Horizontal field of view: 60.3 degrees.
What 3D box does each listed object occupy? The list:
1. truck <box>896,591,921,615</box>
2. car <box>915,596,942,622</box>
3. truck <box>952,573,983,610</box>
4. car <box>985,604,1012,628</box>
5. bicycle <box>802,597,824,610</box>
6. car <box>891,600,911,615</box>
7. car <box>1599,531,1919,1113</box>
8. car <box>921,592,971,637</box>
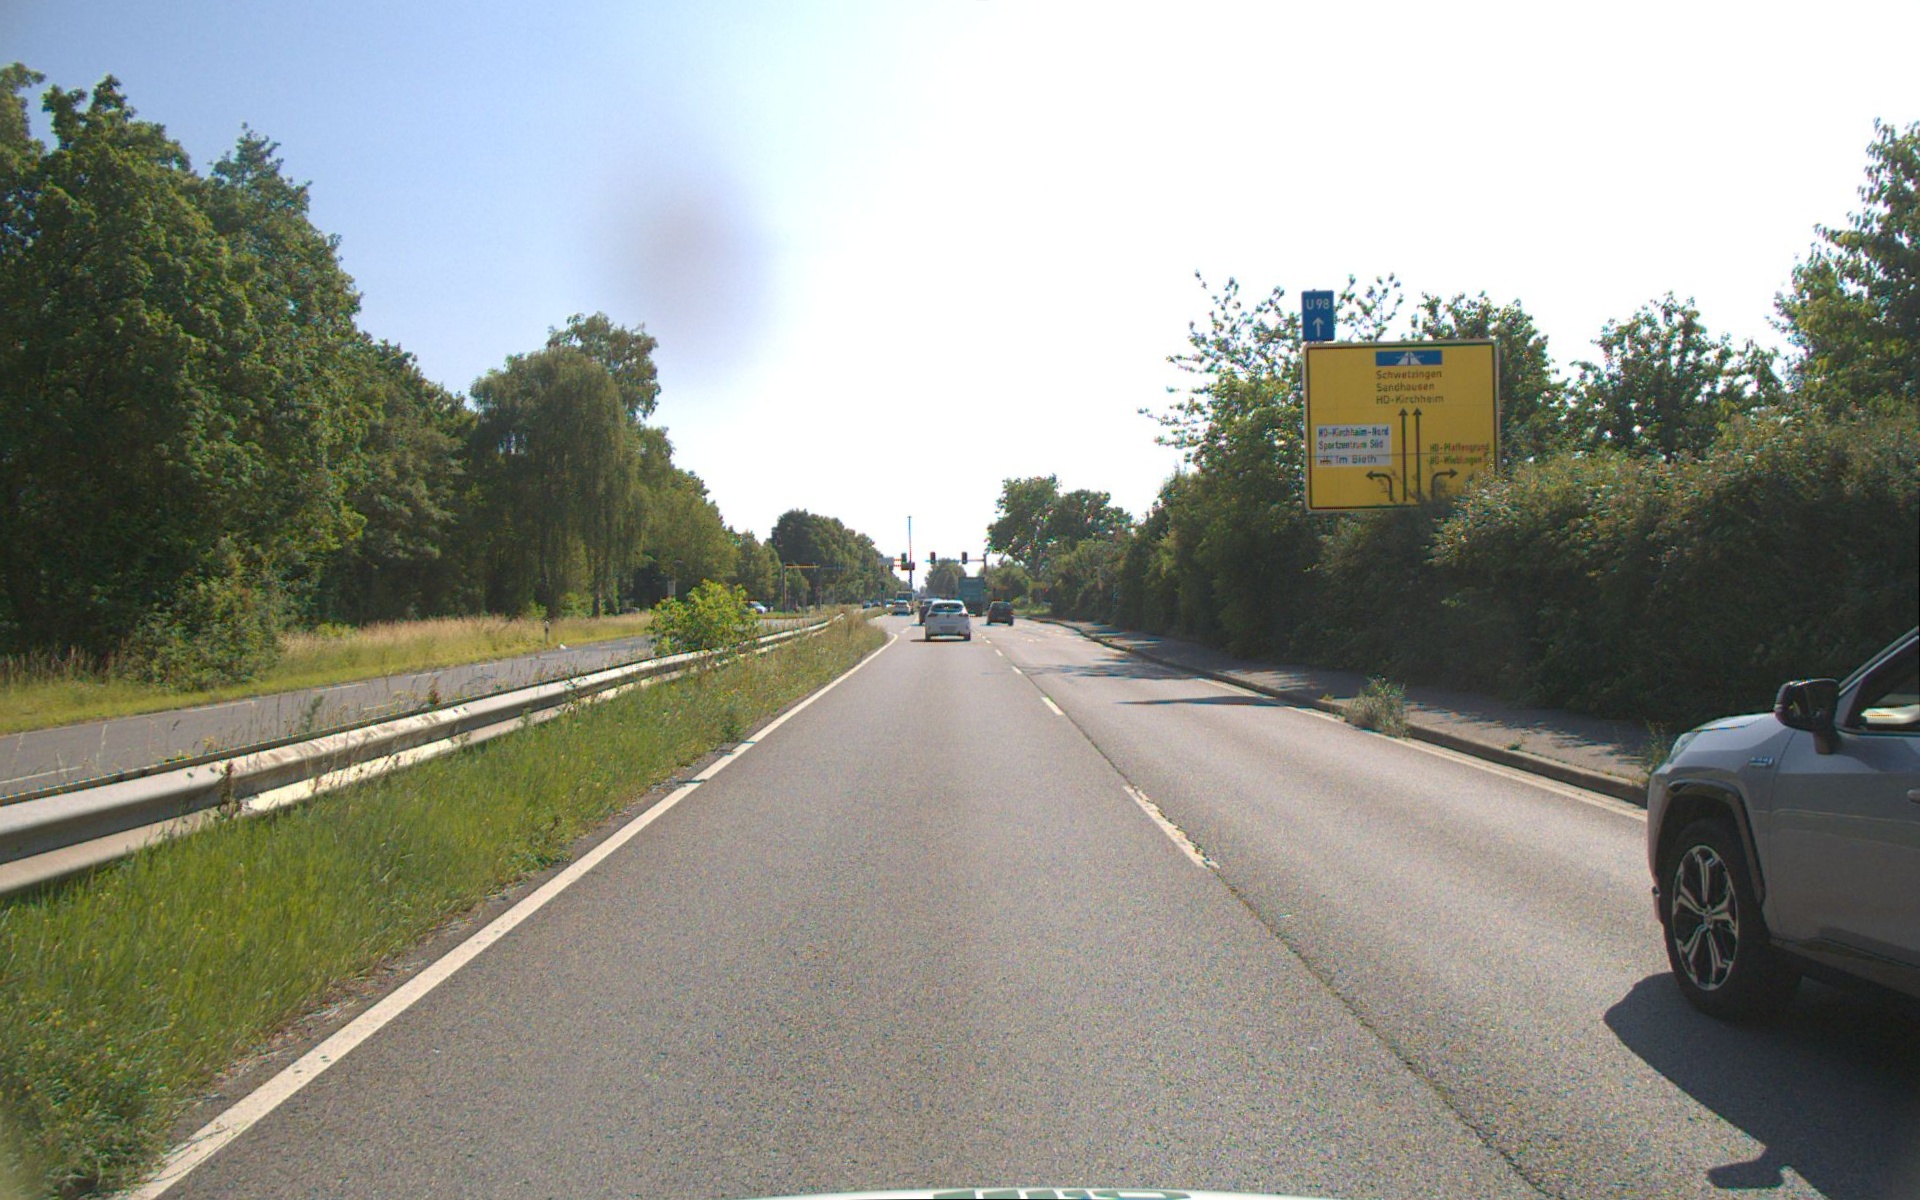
[{"bbox_3d":[-5.364,0.291,173.474,2.325,2.431,6.040,1,0,0],"label":"truck"},{"bbox_3d":[-1.849,0.507,96.368,1.540,1.439,3.277,1,0,-1],"label":"car"},{"bbox_3d":[0.713,-0.815,161.870,2.833,3.488,9.167,-1,0,-1],"label":"truck"},{"bbox_3d":[2.340,0.996,102.099,1.540,1.439,3.276,0,-1,-1],"label":"car"},{"bbox_3d":[-19.312,0.466,217.290,2.737,1.699,1.135,-1,0,26],"label":"bicycle"},{"bbox_3d":[-5.945,0.759,166.228,1.775,1.490,4.970,1,0,0],"label":"car"},{"bbox_3d":[3.759,0.663,4.853,1.863,1.709,4.682,1,0,-1],"label":"car"},{"bbox_3d":[-0.505,0.522,61.184,1.762,1.580,4.000,0,0,0],"label":"car"}]
